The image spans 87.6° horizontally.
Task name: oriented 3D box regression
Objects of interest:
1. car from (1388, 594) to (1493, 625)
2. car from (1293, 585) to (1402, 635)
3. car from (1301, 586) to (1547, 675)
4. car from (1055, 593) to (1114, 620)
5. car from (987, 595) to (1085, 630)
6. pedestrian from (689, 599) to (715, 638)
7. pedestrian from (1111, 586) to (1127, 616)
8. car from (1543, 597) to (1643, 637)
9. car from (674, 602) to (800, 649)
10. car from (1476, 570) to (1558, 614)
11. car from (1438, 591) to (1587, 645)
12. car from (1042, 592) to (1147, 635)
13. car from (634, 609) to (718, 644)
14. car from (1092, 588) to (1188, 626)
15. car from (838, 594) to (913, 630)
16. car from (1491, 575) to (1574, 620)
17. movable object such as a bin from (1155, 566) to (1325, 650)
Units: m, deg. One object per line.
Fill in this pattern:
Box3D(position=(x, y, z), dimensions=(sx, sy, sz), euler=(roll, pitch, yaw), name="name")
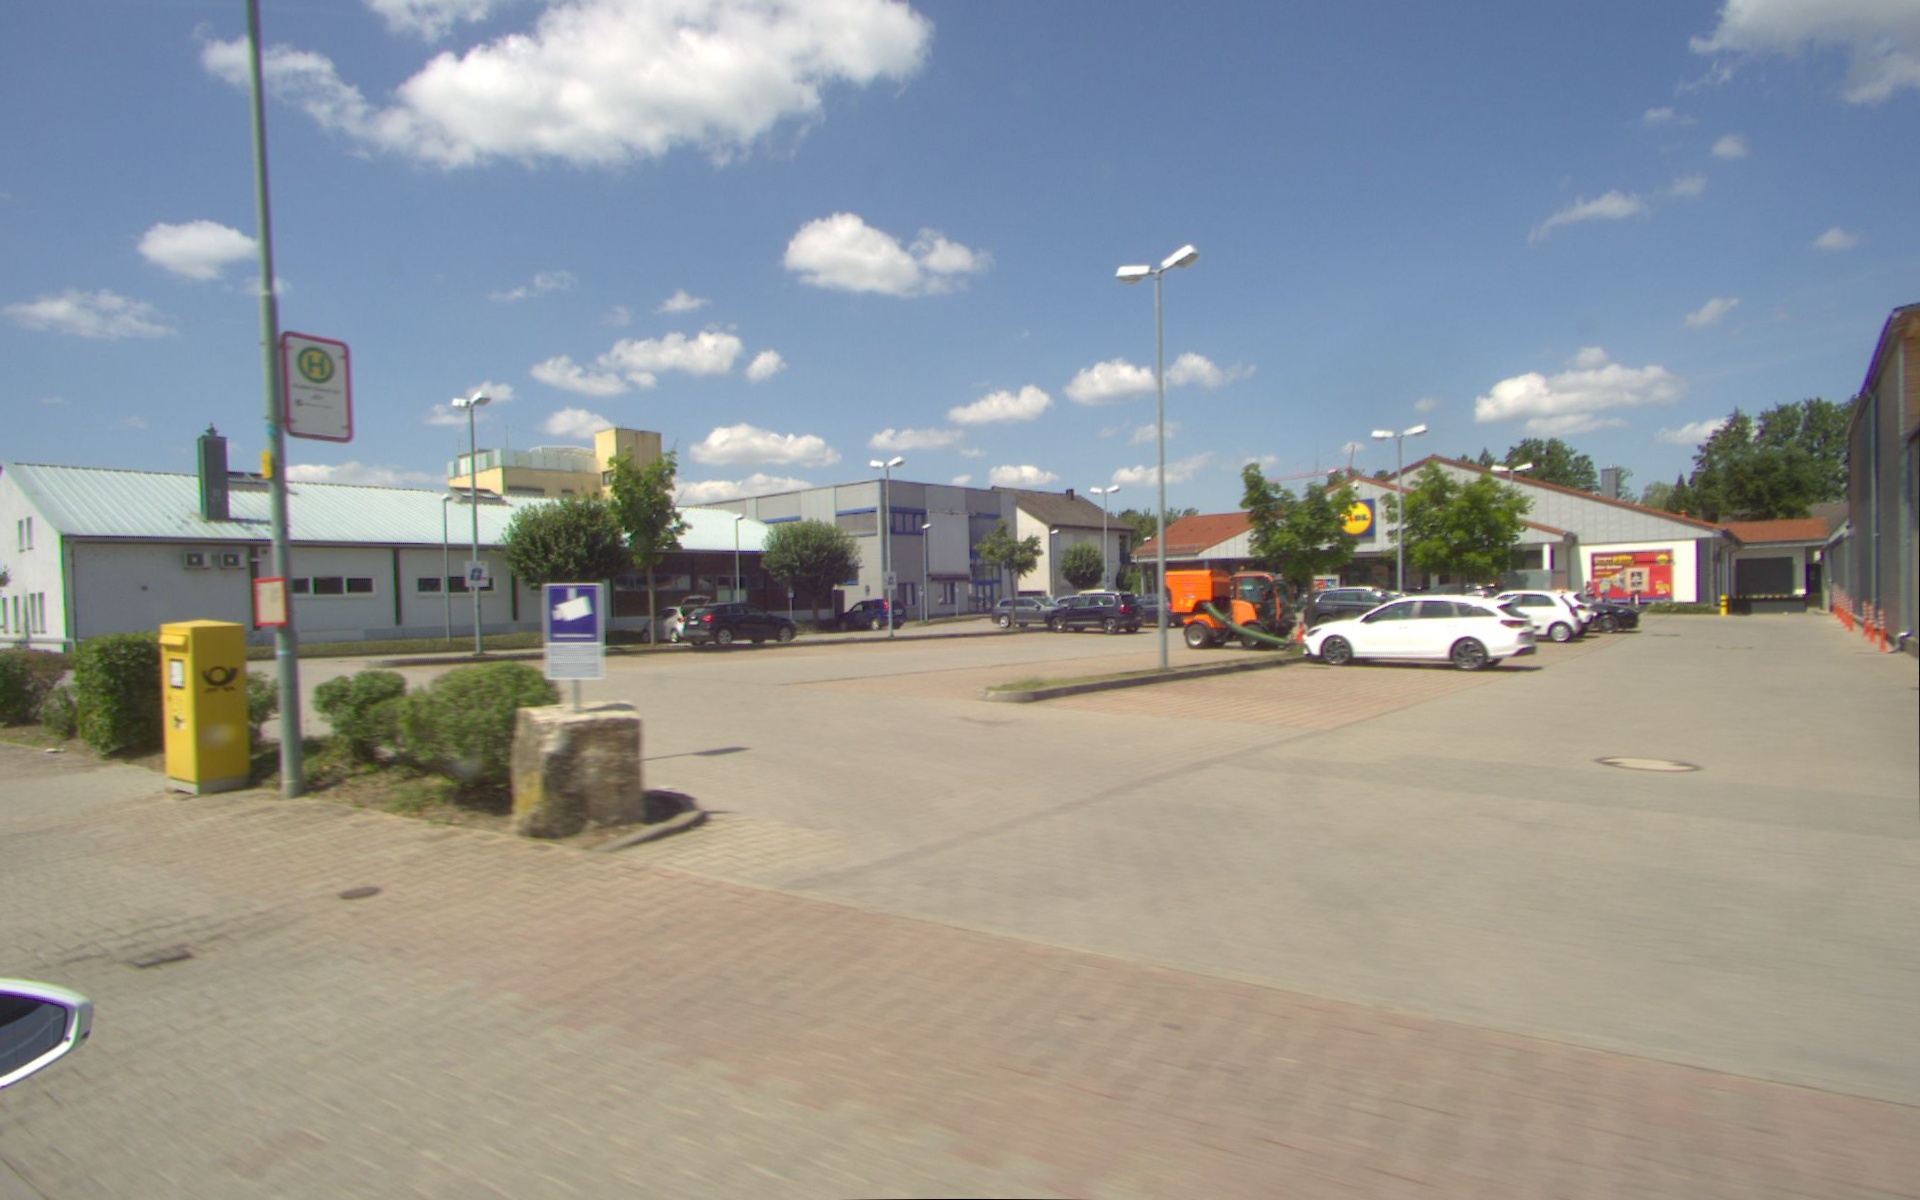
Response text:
Box3D(position=(20.523, 0.391, 42.885), dimensions=(1.597, 1.189, 3.752), euler=(-3, 2, -43), name="car")
Box3D(position=(14.054, 0.387, 36.394), dimensions=(3.308, 1.633, 1.496), euler=(-4, 0, 45), name="car")
Box3D(position=(9.720, 0.571, 21.152), dimensions=(4.383, 1.684, 1.985), euler=(0, 1, 39), name="car")
Box3D(position=(9.320, 0.490, 74.803), dimensions=(3.929, 1.791, 1.808), euler=(-3, 0, 35), name="car")
Box3D(position=(3.638, 0.607, 48.293), dimensions=(4.559, 1.614, 1.574), euler=(-1, 0, 36), name="car")
Box3D(position=(-11.260, 0.815, 43.631), dimensions=(0.724, 1.659, 0.774), euler=(-3, 0, -45), name="pedestrian")
Box3D(position=(11.580, 0.070, 72.805), dimensions=(0.900, 2.134, 0.866), euler=(0, 1, 32), name="pedestrian")
Box3D(position=(21.647, 0.569, 34.358), dimensions=(2.764, 1.326, 1.492), euler=(-1, 0, 28), name="car")
Box3D(position=(-7.831, 0.867, 35.389), dimensions=(1.978, 1.514, 3.964), euler=(-1, 0, 43), name="car")
Box3D(position=(21.194, -0.285, 38.115), dimensions=(2.636, 1.588, 1.218), euler=(-1, 1, 35), name="car")
Box3D(position=(17.216, 0.562, 31.269), dimensions=(3.947, 1.595, 1.575), euler=(-1, 0, 36), name="car")
Box3D(position=(5.464, 0.556, 40.905), dimensions=(3.943, 1.652, 1.576), euler=(-1, 0, 32), name="car")
Box3D(position=(-12.910, 1.170, 45.379), dimensions=(3.856, 1.518, 1.879), euler=(-1, 0, 42), name="car")
Box3D(position=(8.018, 0.325, 44.836), dimensions=(3.946, 1.614, 1.575), euler=(-1, 0, 35), name="car")
Box3D(position=(-4.719, 0.671, 55.647), dimensions=(3.941, 1.731, 1.879), euler=(-4, 0, 40), name="car")
Box3D(position=(23.149, -0.103, 40.489), dimensions=(2.677, 1.710, 1.286), euler=(-1, 1, 44), name="car")
Box3D(position=(8.001, 0.207, 28.916), dimensions=(4.475, 2.234, 1.669), euler=(0, 2, 45), name="movable object such as a bin")
